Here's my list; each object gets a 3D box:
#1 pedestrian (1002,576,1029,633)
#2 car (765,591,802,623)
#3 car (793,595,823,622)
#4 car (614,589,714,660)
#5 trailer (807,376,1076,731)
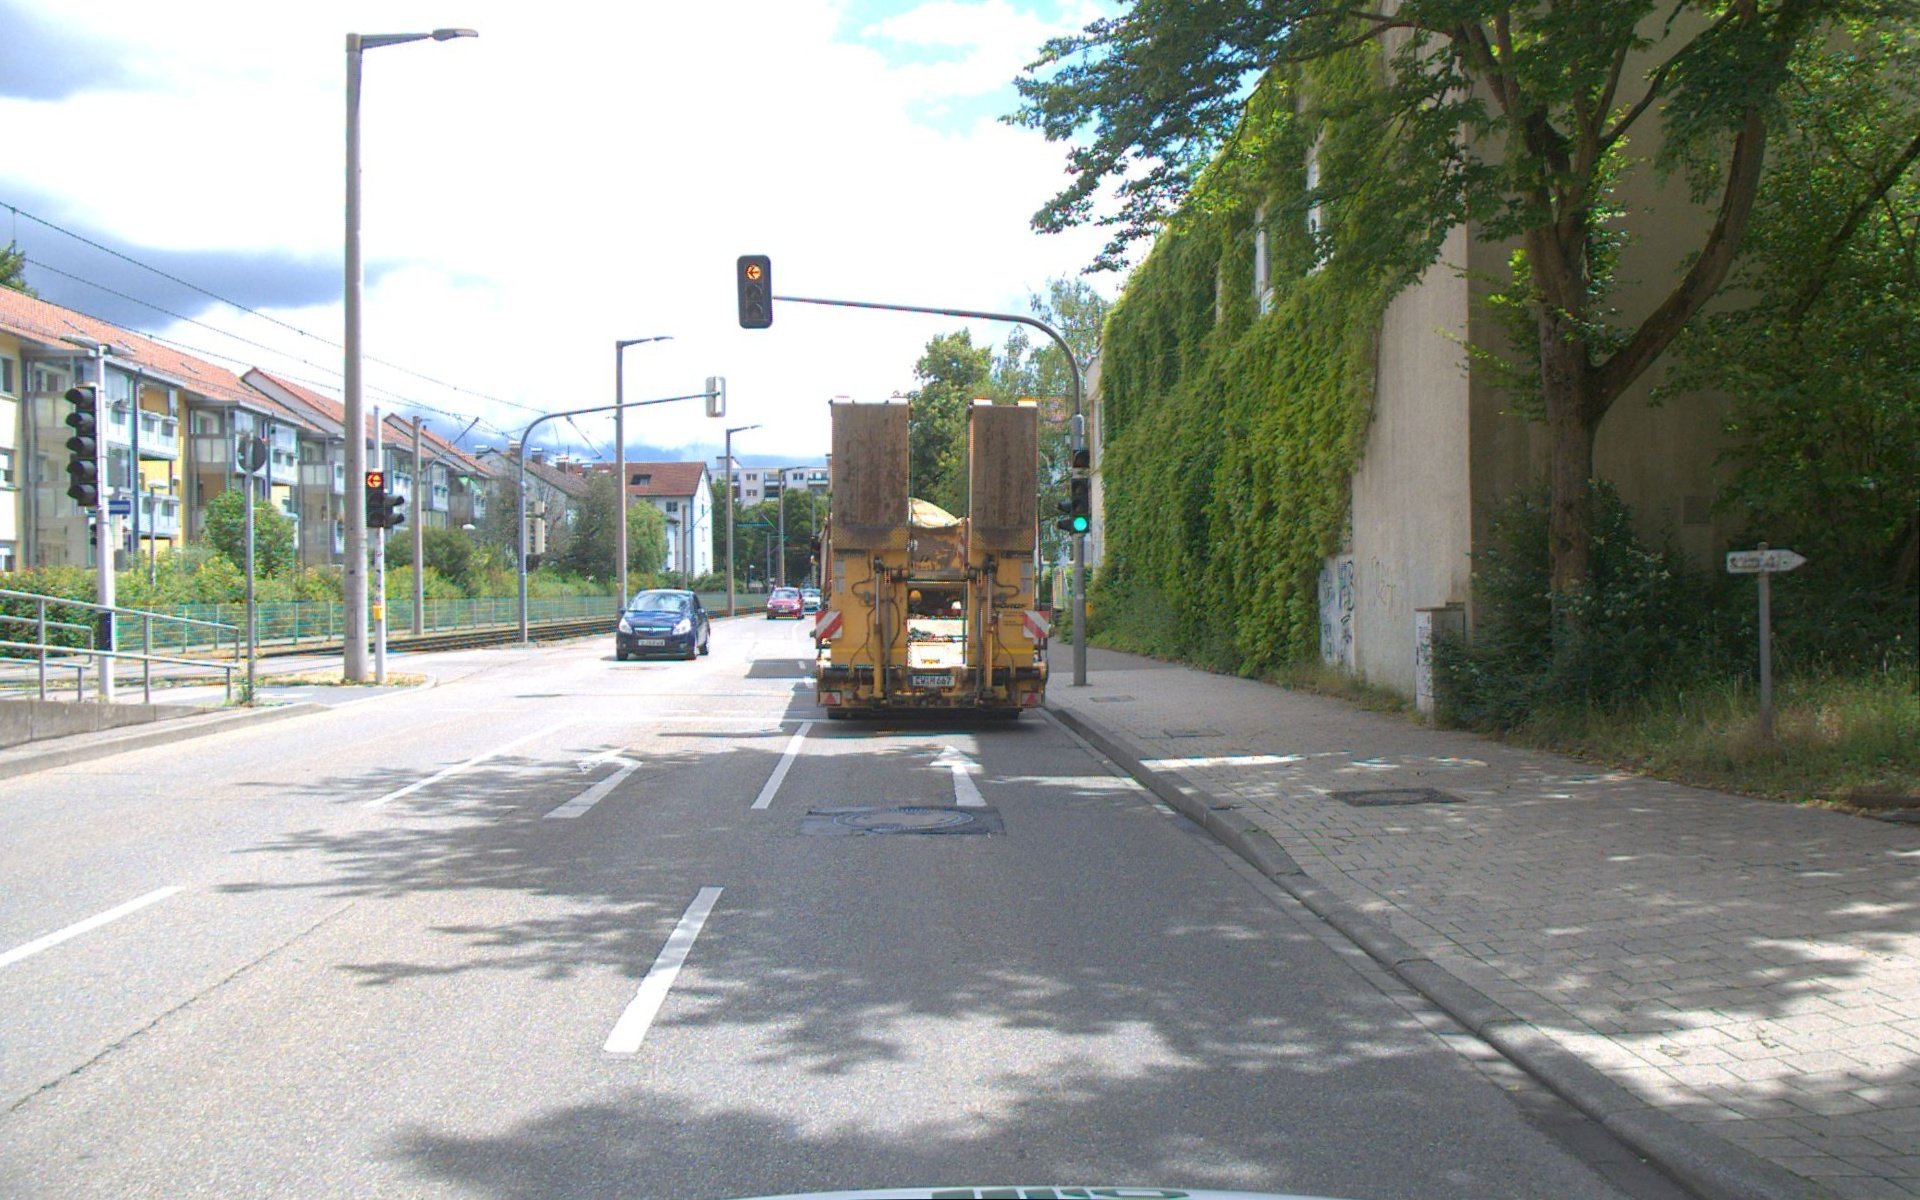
[{"bbox_3d":[1.796,0.136,53.351,0.792,1.802,0.817,1,0,4],"label":"pedestrian"},{"bbox_3d":[-8.879,0.335,83.294,1.630,1.579,3.997,1,0,-3],"label":"car"},{"bbox_3d":[-9.048,0.486,98.845,1.726,1.579,3.996,0,0,-5],"label":"car"},{"bbox_3d":[-6.416,0.516,36.212,1.683,1.466,4.006,0,0,-3],"label":"car"},{"bbox_3d":[-0.747,-0.492,23.667,2.772,3.709,12.339,1,0,-5],"label":"trailer"}]
